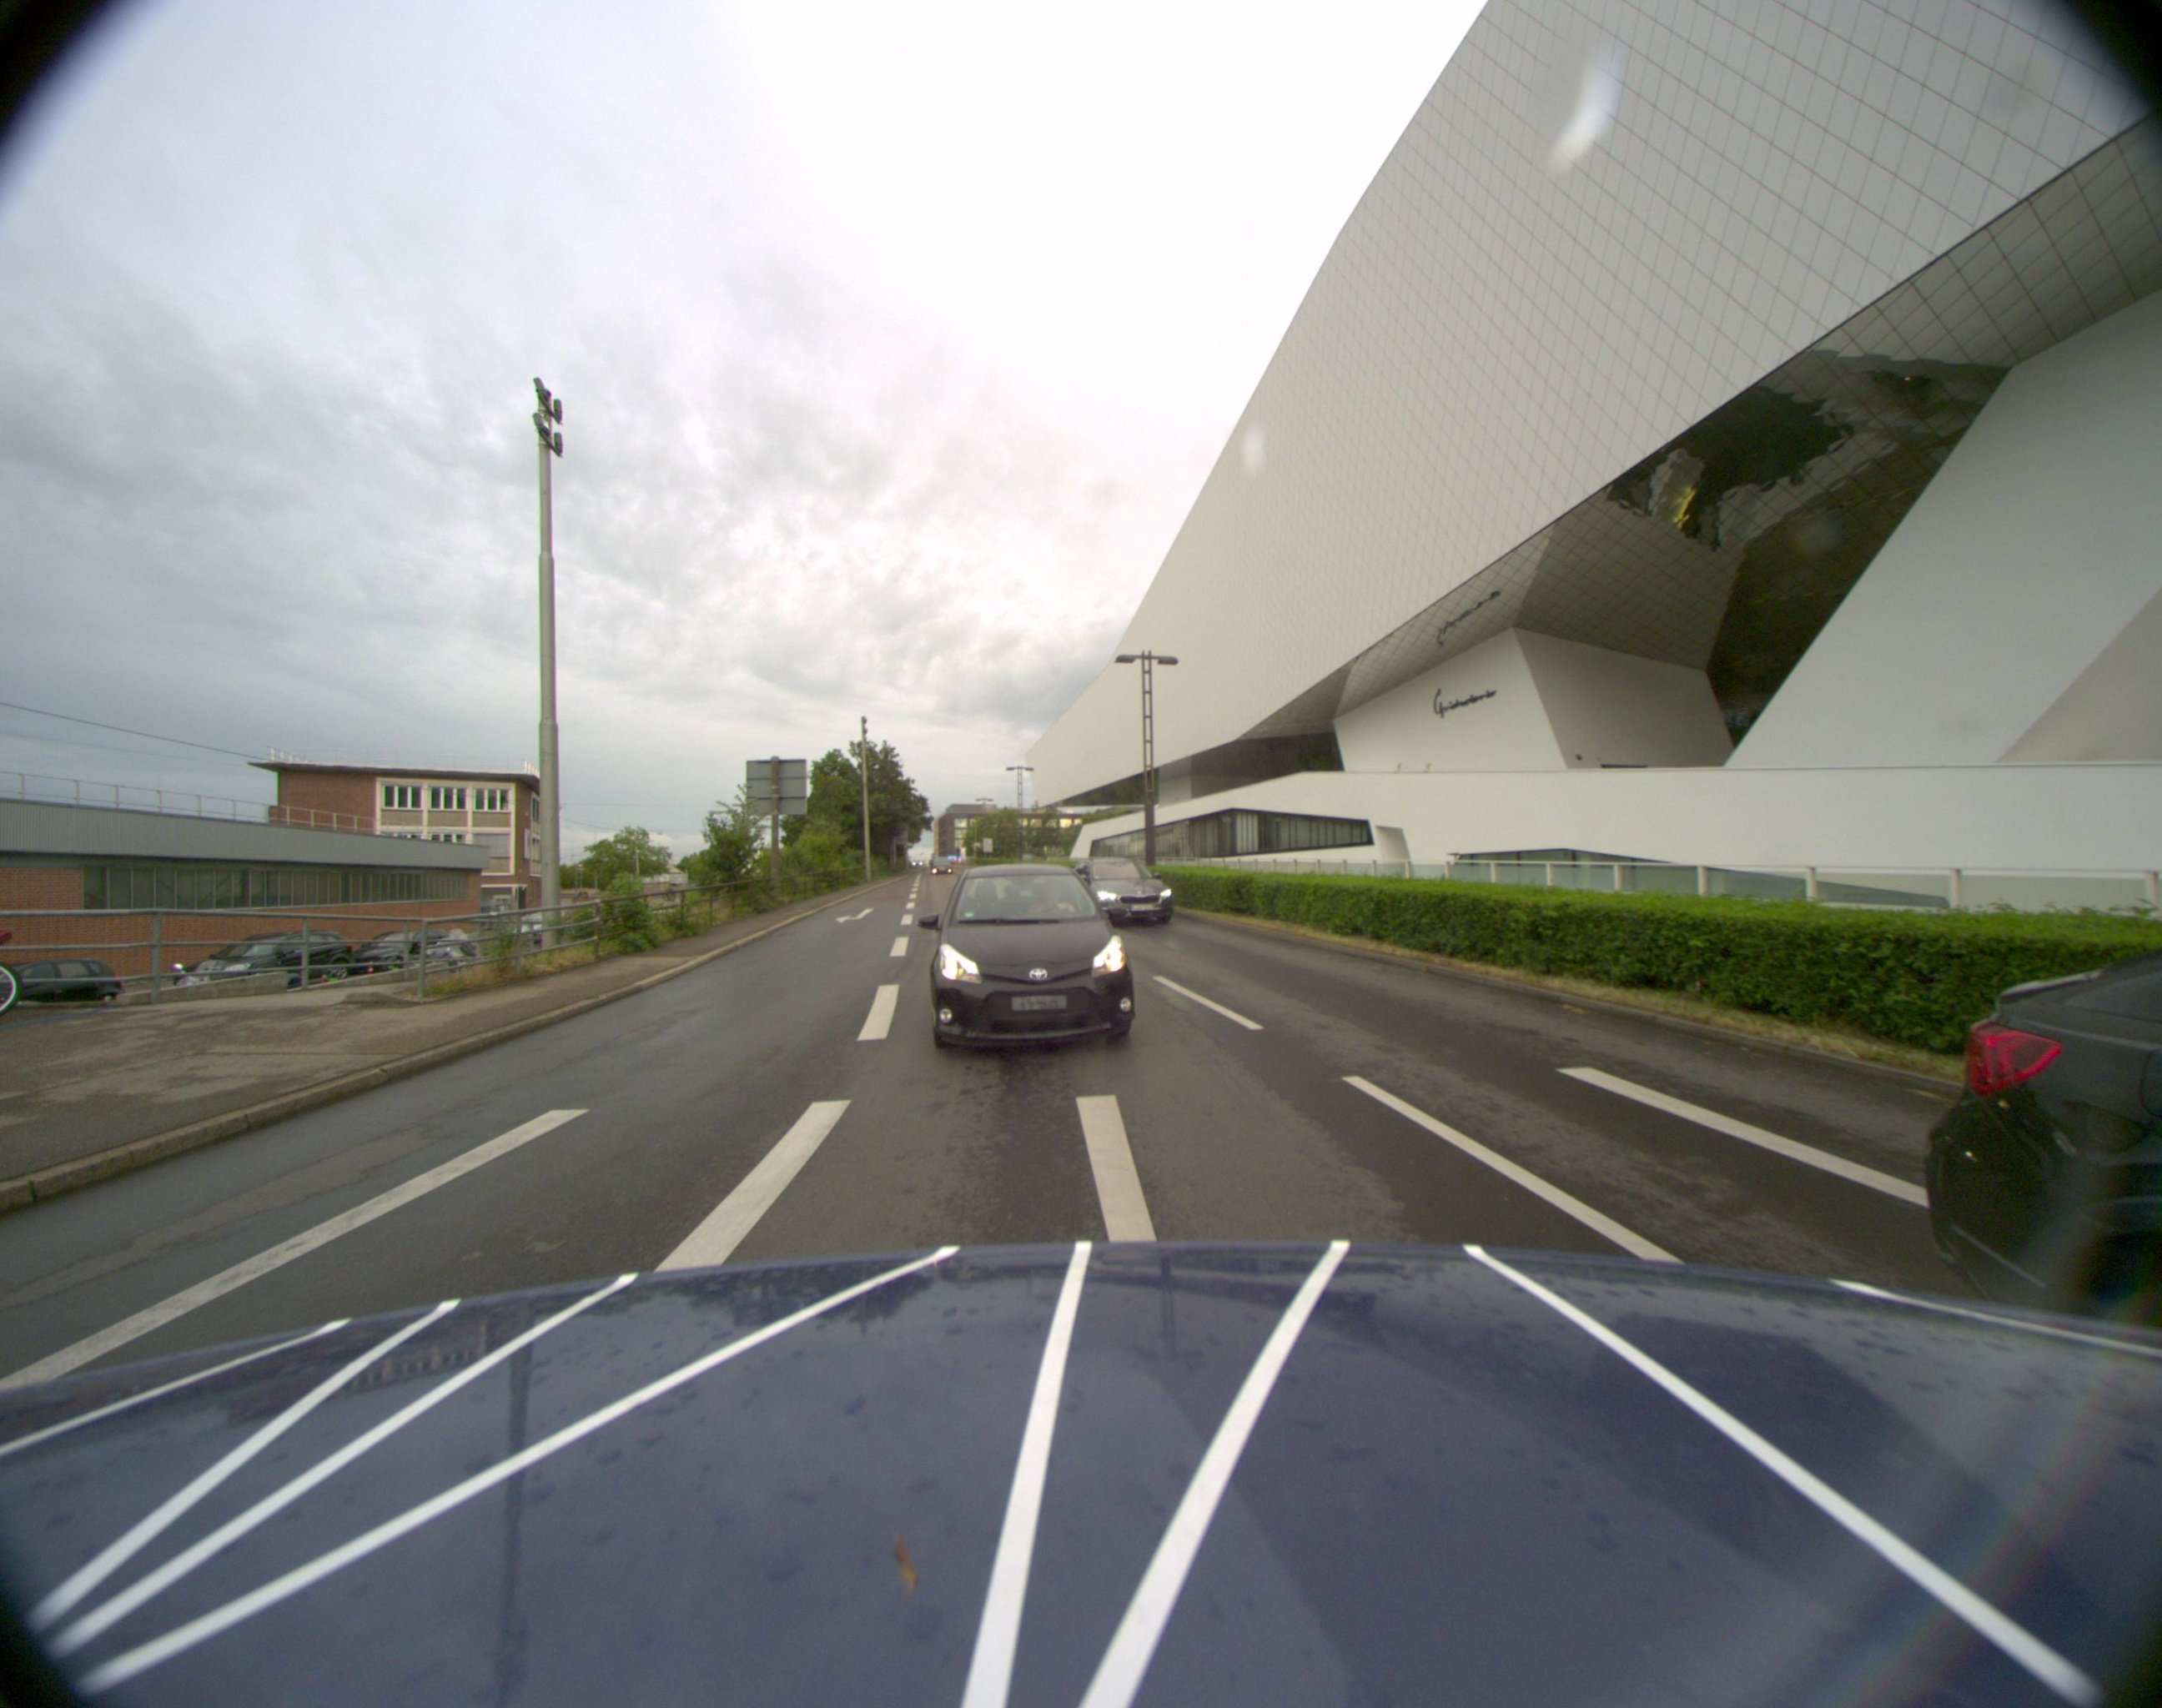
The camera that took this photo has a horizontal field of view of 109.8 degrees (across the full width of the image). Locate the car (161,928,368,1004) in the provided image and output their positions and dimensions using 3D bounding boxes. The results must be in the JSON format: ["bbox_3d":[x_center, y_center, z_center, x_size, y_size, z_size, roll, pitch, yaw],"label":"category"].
[{"bbox_3d":[-24.443,3.272,23.042,1.784,1.657,4.503,-2,-1,-7],"label":"car"}]

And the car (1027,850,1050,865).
[{"bbox_3d":[-4.300,0.336,76.794,1.725,1.330,3.996,-2,1,-11],"label":"car"}]

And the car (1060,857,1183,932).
[{"bbox_3d":[0.802,0.855,17.955,1.818,1.430,4.297,-2,1,-12],"label":"car"}]

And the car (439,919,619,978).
[{"bbox_3d":[-15.836,2.708,21.917,3.995,1.417,1.721,-2,-1,5],"label":"car"}]

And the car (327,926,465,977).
[{"bbox_3d":[-25.688,3.606,28.724,1.720,1.396,4.273,-2,-1,-7],"label":"car"}]

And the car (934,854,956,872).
[{"bbox_3d":[-11.644,0.741,65.252,1.750,1.466,4.065,-2,1,-9],"label":"car"}]

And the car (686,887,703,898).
[{"bbox_3d":[-54.971,5.453,108.038,1.724,1.417,3.991,-1,-1,-34],"label":"car"}]

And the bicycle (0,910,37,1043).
[{"bbox_3d":[-10.387,1.098,6.566,1.547,1.148,0.450,0,2,-27],"label":"bicycle"}]

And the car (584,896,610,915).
[{"bbox_3d":[-42.392,4.471,66.593,1.723,1.417,3.991,-1,-1,-30],"label":"car"}]

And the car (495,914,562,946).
[{"bbox_3d":[-30.070,4.104,41.482,1.734,1.380,3.995,-2,-1,-17],"label":"car"}]

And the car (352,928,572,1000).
[{"bbox_3d":[-14.829,2.614,18.321,3.995,1.417,1.721,-2,-1,5],"label":"car"}]

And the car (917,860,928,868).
[{"bbox_3d":[-31.091,1.895,148.713,1.819,1.429,4.298,0,-2,-15],"label":"car"}]

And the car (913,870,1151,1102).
[{"bbox_3d":[-0.622,0.992,7.547,1.695,1.498,4.008,-2,1,-8],"label":"car"}]

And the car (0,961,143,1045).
[{"bbox_3d":[-23.193,3.268,16.240,1.721,1.417,3.997,-2,-1,-10],"label":"car"}]
